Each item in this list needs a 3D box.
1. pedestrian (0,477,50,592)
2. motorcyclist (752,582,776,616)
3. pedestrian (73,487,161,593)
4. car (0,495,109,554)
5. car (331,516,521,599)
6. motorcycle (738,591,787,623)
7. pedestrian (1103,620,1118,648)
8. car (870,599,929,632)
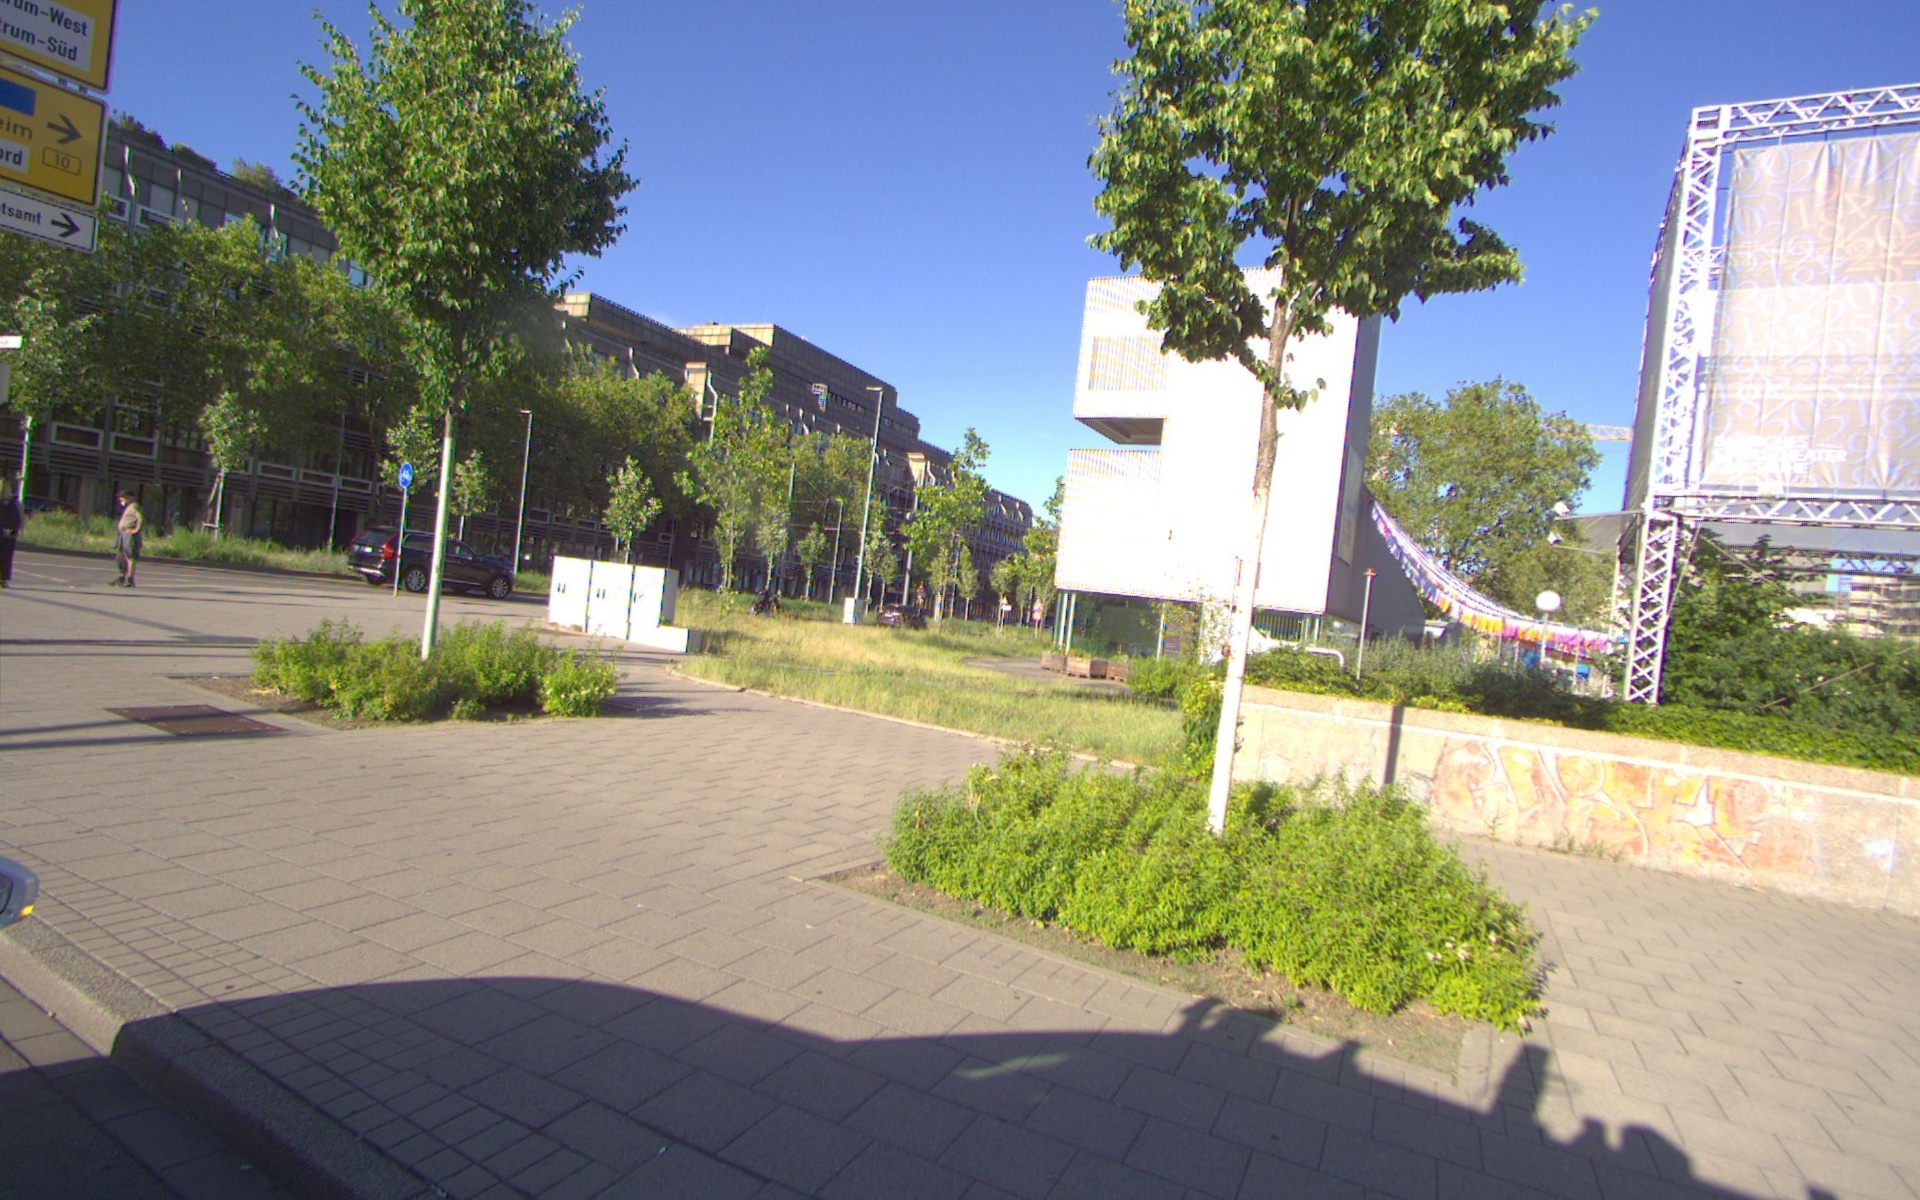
[{"bbox_3d":[-14.255,-1.004,14.941,0.859,1.634,0.767,7,1,30],"label":"pedestrian"},{"bbox_3d":[-8.914,-0.040,45.780,0.636,1.441,0.658,8,1,24],"label":"motorcyclist"},{"bbox_3d":[-14.980,-1.052,17.881,0.755,1.728,0.873,7,1,30],"label":"pedestrian"},{"bbox_3d":[-33.213,-2.778,35.582,1.792,1.704,4.302,7,-1,21],"label":"car"},{"bbox_3d":[-15.974,-1.204,30.403,1.852,1.886,4.830,7,-1,24],"label":"car"},{"bbox_3d":[-8.971,0.319,45.830,0.716,1.223,2.602,8,0,24],"label":"motorcycle"},{"bbox_3d":[9.170,2.077,61.166,0.520,1.571,0.638,7,-1,31],"label":"pedestrian"},{"bbox_3d":[-3.420,0.914,57.578,1.642,1.528,3.871,7,-1,25],"label":"car"}]
